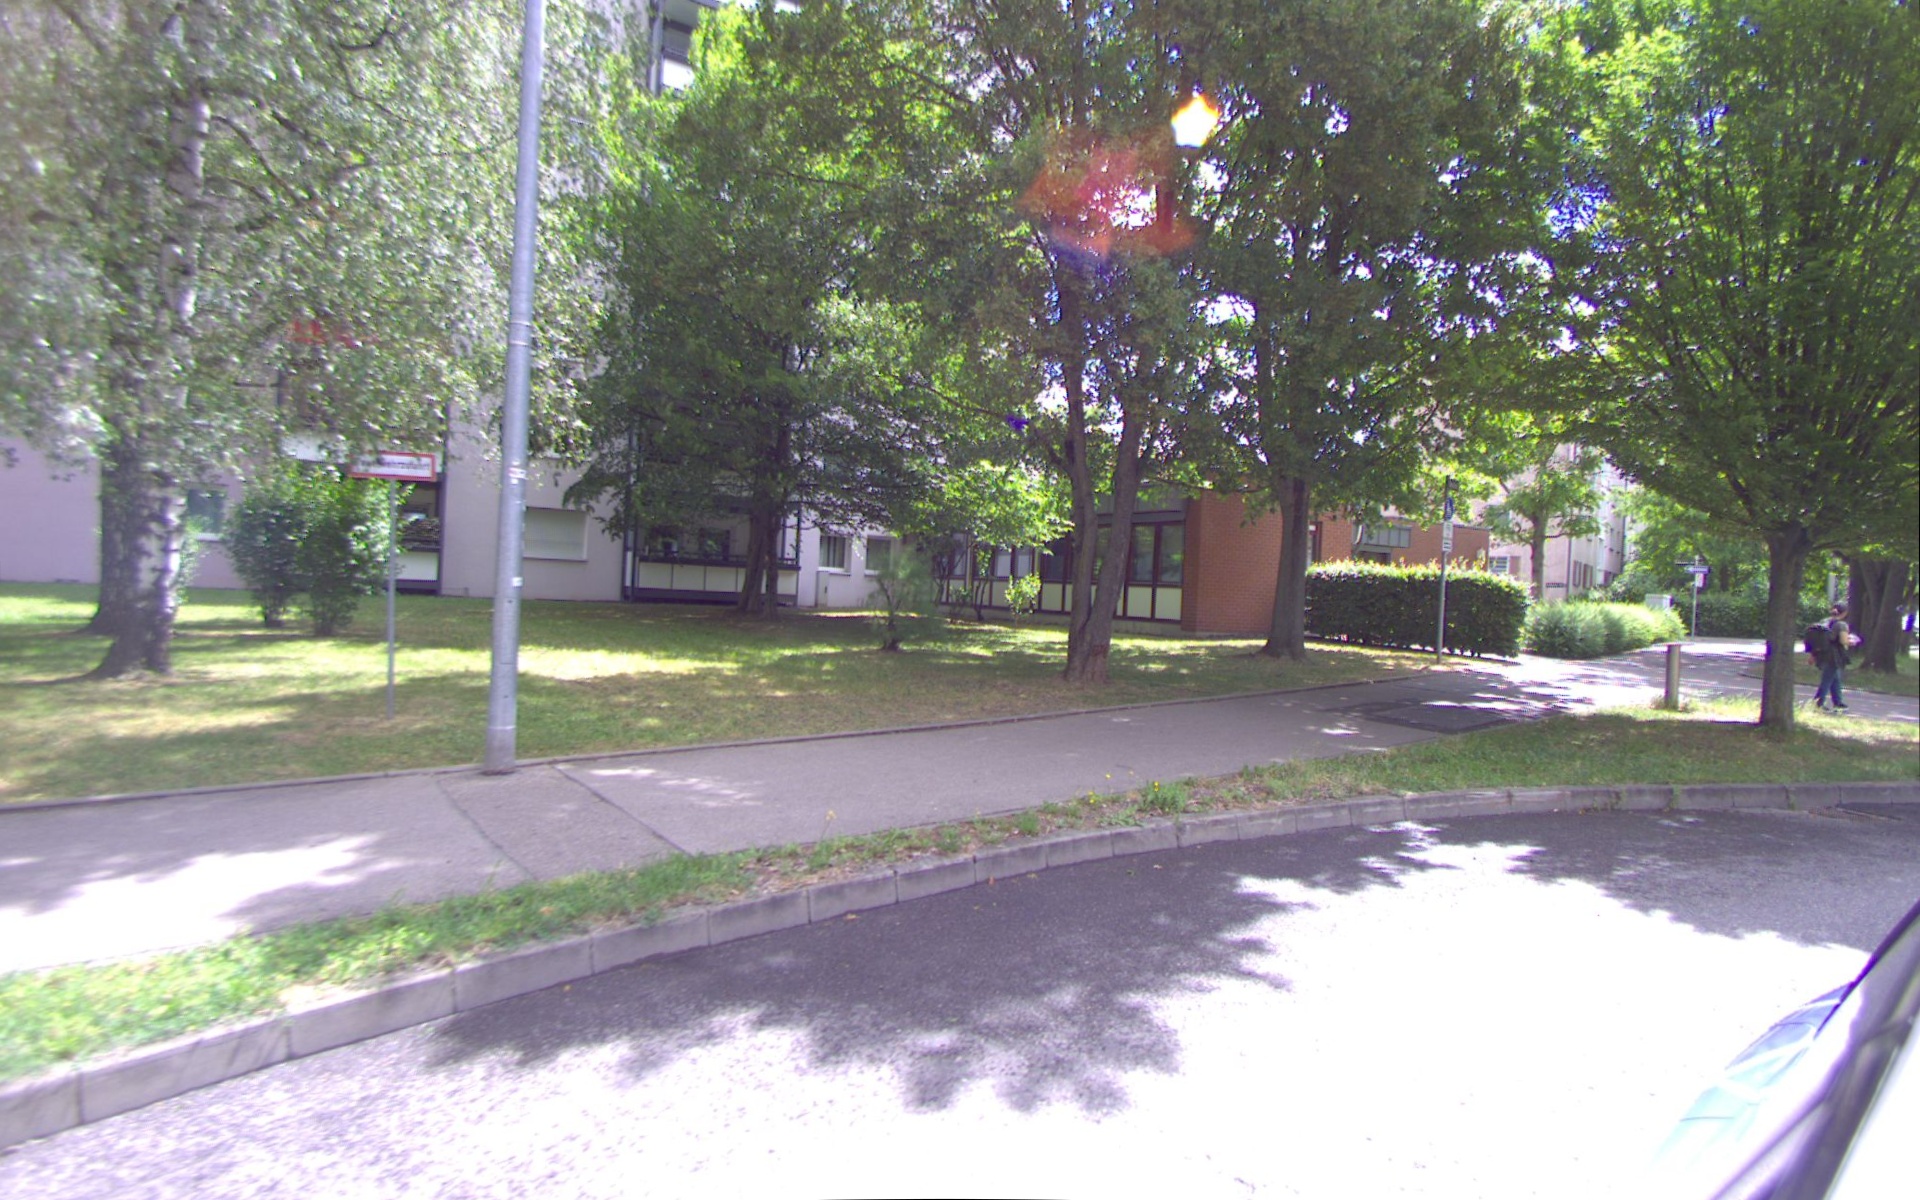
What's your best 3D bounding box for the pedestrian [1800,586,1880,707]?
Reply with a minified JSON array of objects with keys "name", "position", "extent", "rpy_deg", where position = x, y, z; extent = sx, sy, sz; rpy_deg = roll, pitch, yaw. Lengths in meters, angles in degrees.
[{"name":"pedestrian","position":[12.317,0.613,14.168],"extent":[0.827,1.598,0.720],"rpy_deg":[-2,3,-42]}]
